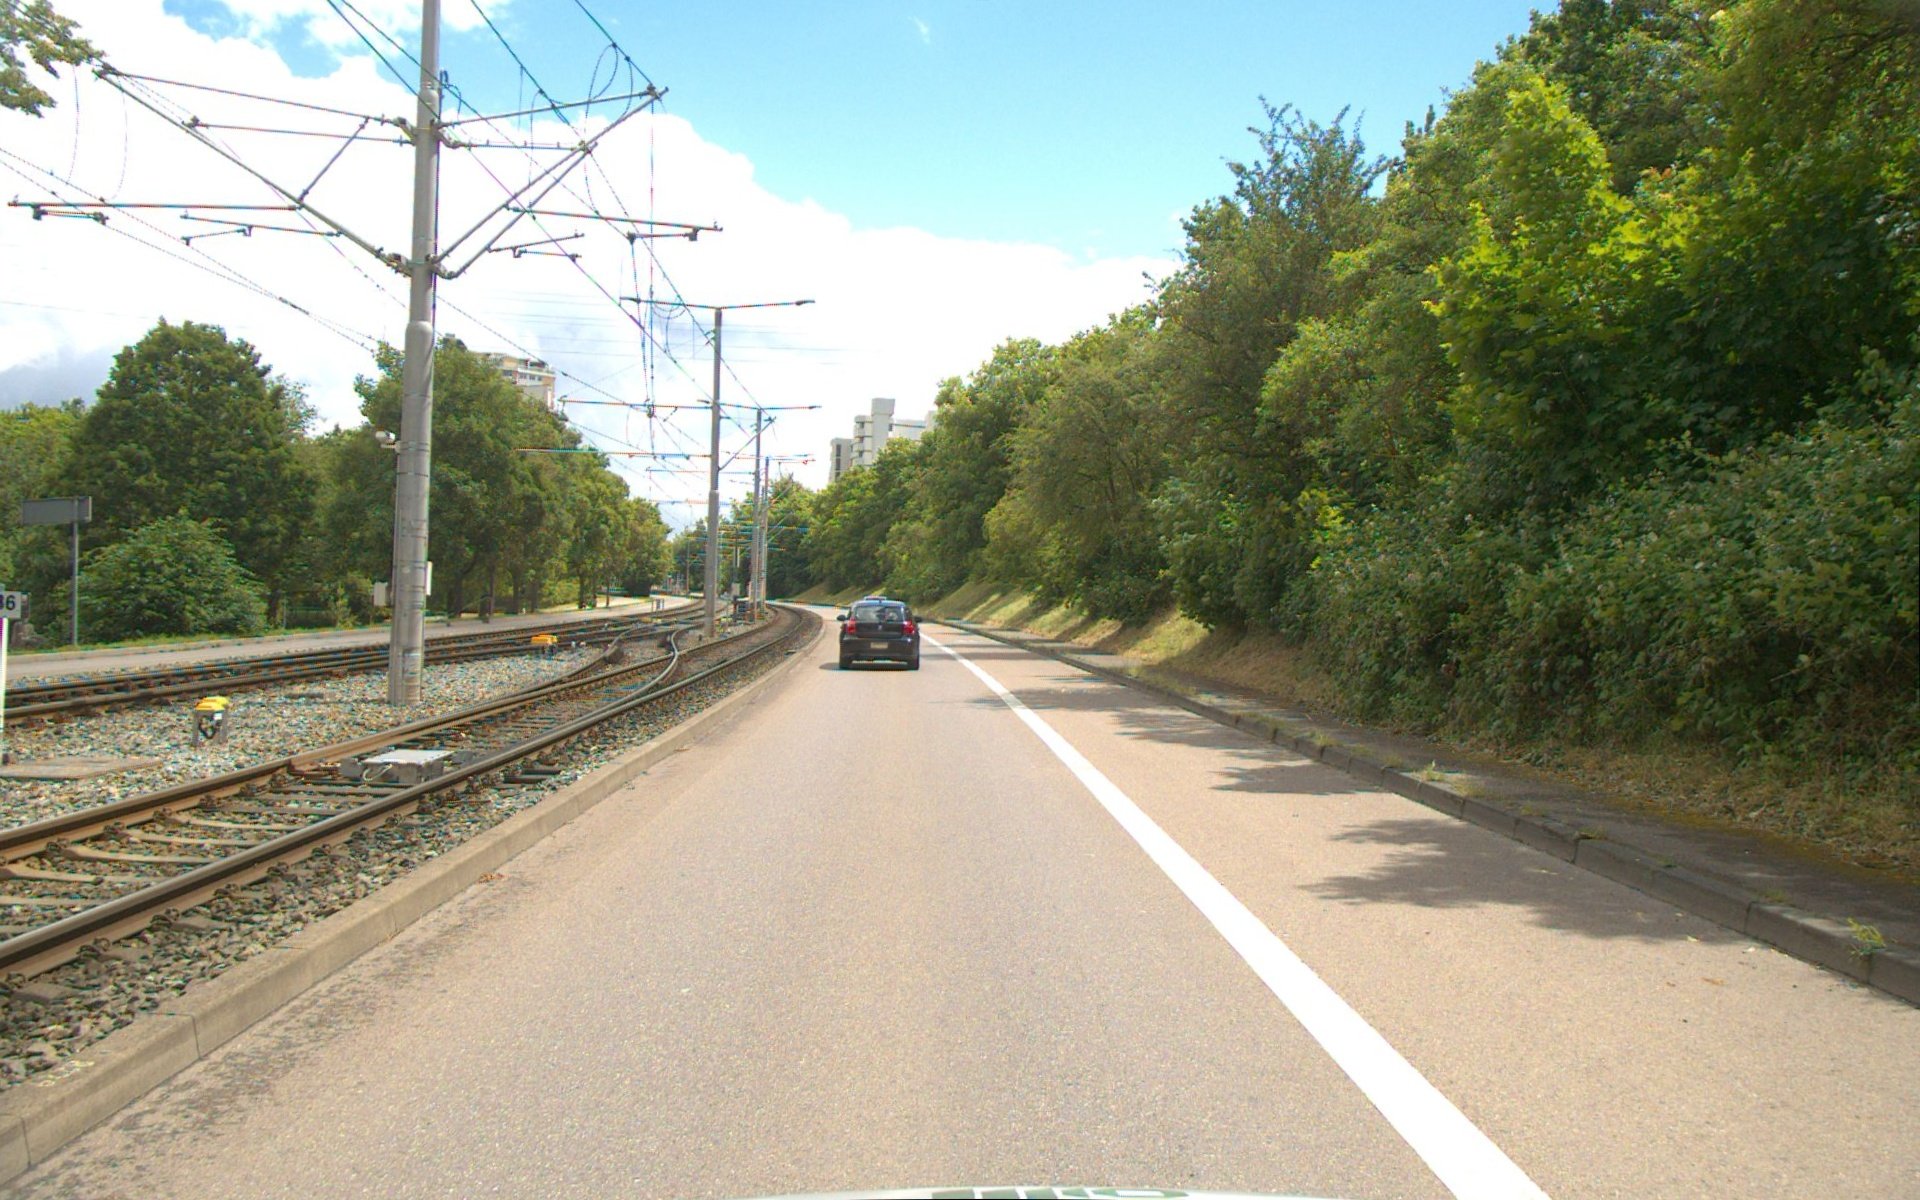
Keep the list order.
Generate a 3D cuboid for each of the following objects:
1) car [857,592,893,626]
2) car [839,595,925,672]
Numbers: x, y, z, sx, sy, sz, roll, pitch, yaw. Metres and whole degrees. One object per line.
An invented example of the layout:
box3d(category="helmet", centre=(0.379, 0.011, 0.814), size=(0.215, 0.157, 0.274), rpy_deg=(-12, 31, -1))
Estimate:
box3d(category="car", centre=(-4.123, 0.416, 79.793), size=(1.592, 1.468, 3.418), rpy_deg=(3, 0, -4))
box3d(category="car", centre=(-1.635, 0.704, 35.769), size=(1.674, 1.486, 3.959), rpy_deg=(3, -1, -1))
